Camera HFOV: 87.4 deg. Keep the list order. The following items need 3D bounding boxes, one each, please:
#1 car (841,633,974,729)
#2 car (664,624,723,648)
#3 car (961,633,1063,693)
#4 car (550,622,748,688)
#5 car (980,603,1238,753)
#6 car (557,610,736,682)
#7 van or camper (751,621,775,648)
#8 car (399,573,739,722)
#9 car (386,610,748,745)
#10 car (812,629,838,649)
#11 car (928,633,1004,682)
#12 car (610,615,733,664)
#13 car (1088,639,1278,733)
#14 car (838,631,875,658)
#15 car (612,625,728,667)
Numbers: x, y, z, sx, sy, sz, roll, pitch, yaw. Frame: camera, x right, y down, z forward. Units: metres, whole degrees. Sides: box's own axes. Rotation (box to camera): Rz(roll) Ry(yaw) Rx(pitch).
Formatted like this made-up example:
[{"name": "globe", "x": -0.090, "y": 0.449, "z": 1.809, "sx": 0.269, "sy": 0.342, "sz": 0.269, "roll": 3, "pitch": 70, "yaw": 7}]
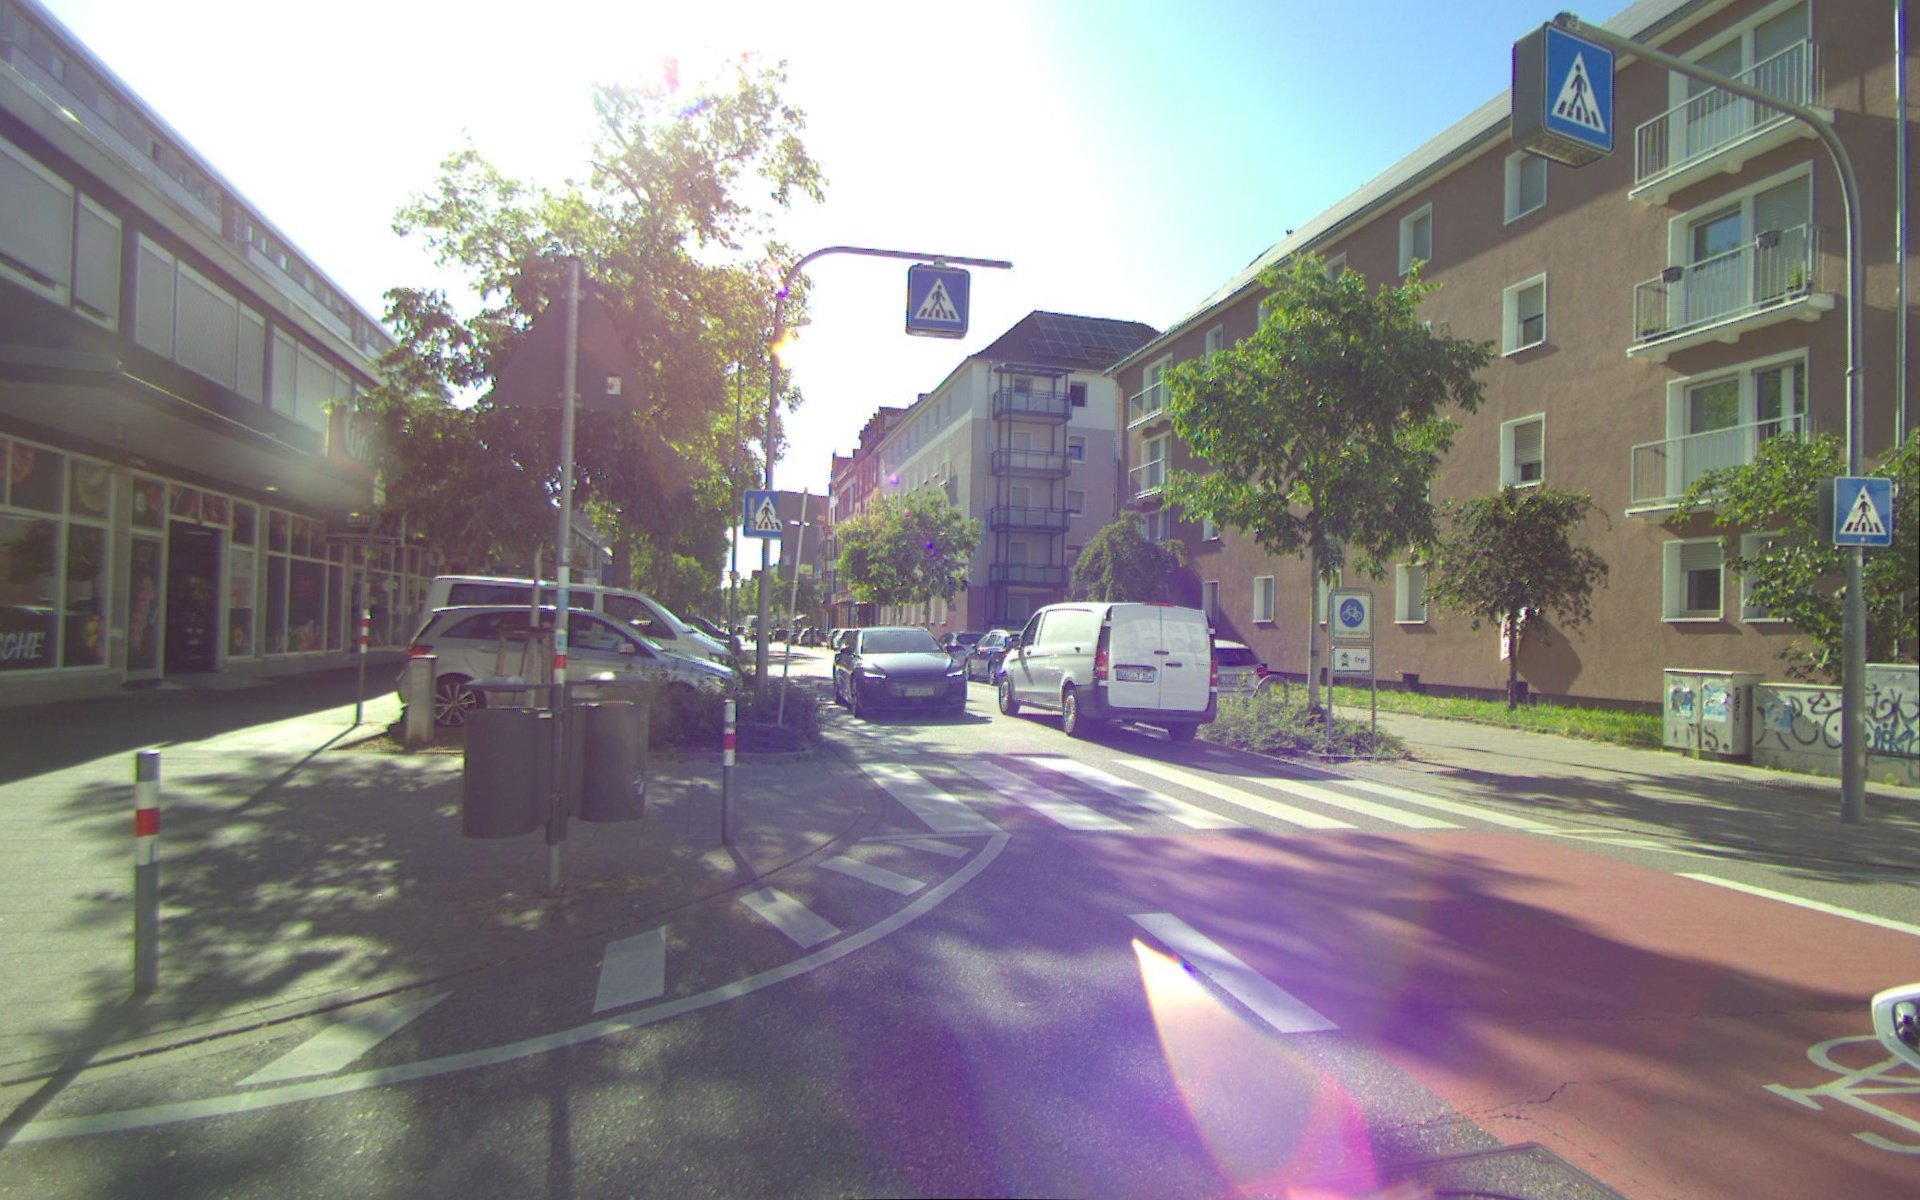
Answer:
[{"name": "car", "x": -1.089, "y": 1.357, "z": 18.286, "sx": 1.881, "sy": 1.473, "sz": 4.570, "roll": 0, "pitch": -2, "yaw": -10}, {"name": "car", "x": -24.235, "y": 3.319, "z": 91.443, "sx": 5.143, "sy": 2.007, "sz": 1.657, "roll": 2, "pitch": -2, "yaw": -15}, {"name": "car", "x": 1.392, "y": 1.725, "z": 28.526, "sx": 1.758, "sy": 1.539, "sz": 4.298, "roll": 2, "pitch": -2, "yaw": -13}, {"name": "car", "x": -7.816, "y": 1.401, "z": 25.555, "sx": 4.595, "sy": 1.513, "sz": 1.822, "roll": 2, "pitch": -2, "yaw": -16}, {"name": "car", "x": 2.049, "y": 1.100, "z": 15.828, "sx": 2.072, "sy": 1.932, "sz": 5.409, "roll": 2, "pitch": -2, "yaw": -14}, {"name": "car", "x": -8.665, "y": 1.294, "z": 28.066, "sx": 4.565, "sy": 1.828, "sz": 1.832, "roll": 2, "pitch": -2, "yaw": -15}, {"name": "van or camper", "x": -19.149, "y": 3.339, "z": 97.421, "sx": 1.966, "sy": 2.508, "sz": 5.805, "roll": 1, "pitch": -2, "yaw": -14}, {"name": "car", "x": -6.005, "y": 0.784, "z": 15.991, "sx": 4.668, "sy": 2.032, "sz": 1.953, "roll": 3, "pitch": -2, "yaw": -16}, {"name": "car", "x": -5.077, "y": 1.026, "z": 13.534, "sx": 4.233, "sy": 1.634, "sz": 1.753, "roll": 2, "pitch": -2, "yaw": -15}, {"name": "car", "x": -11.273, "y": 3.245, "z": 83.658, "sx": 1.716, "sy": 1.539, "sz": 3.848, "roll": 2, "pitch": -2, "yaw": -13}, {"name": "car", "x": 0.147, "y": 1.931, "z": 34.560, "sx": 1.716, "sy": 1.539, "sz": 3.848, "roll": 2, "pitch": -2, "yaw": -13}, {"name": "car", "x": -12.817, "y": 1.770, "z": 44.873, "sx": 5.143, "sy": 2.007, "sz": 1.657, "roll": 2, "pitch": -2, "yaw": -15}, {"name": "car", "x": 3.917, "y": 1.488, "z": 18.375, "sx": 1.716, "sy": 1.473, "sz": 4.144, "roll": 2, "pitch": -2, "yaw": -14}, {"name": "car", "x": -6.287, "y": 2.693, "z": 60.848, "sx": 1.716, "sy": 1.539, "sz": 3.848, "roll": 2, "pitch": -2, "yaw": -13}, {"name": "car", "x": -12.174, "y": 1.933, "z": 42.410, "sx": 4.565, "sy": 1.631, "sz": 1.657, "roll": 2, "pitch": -2, "yaw": -15}]
